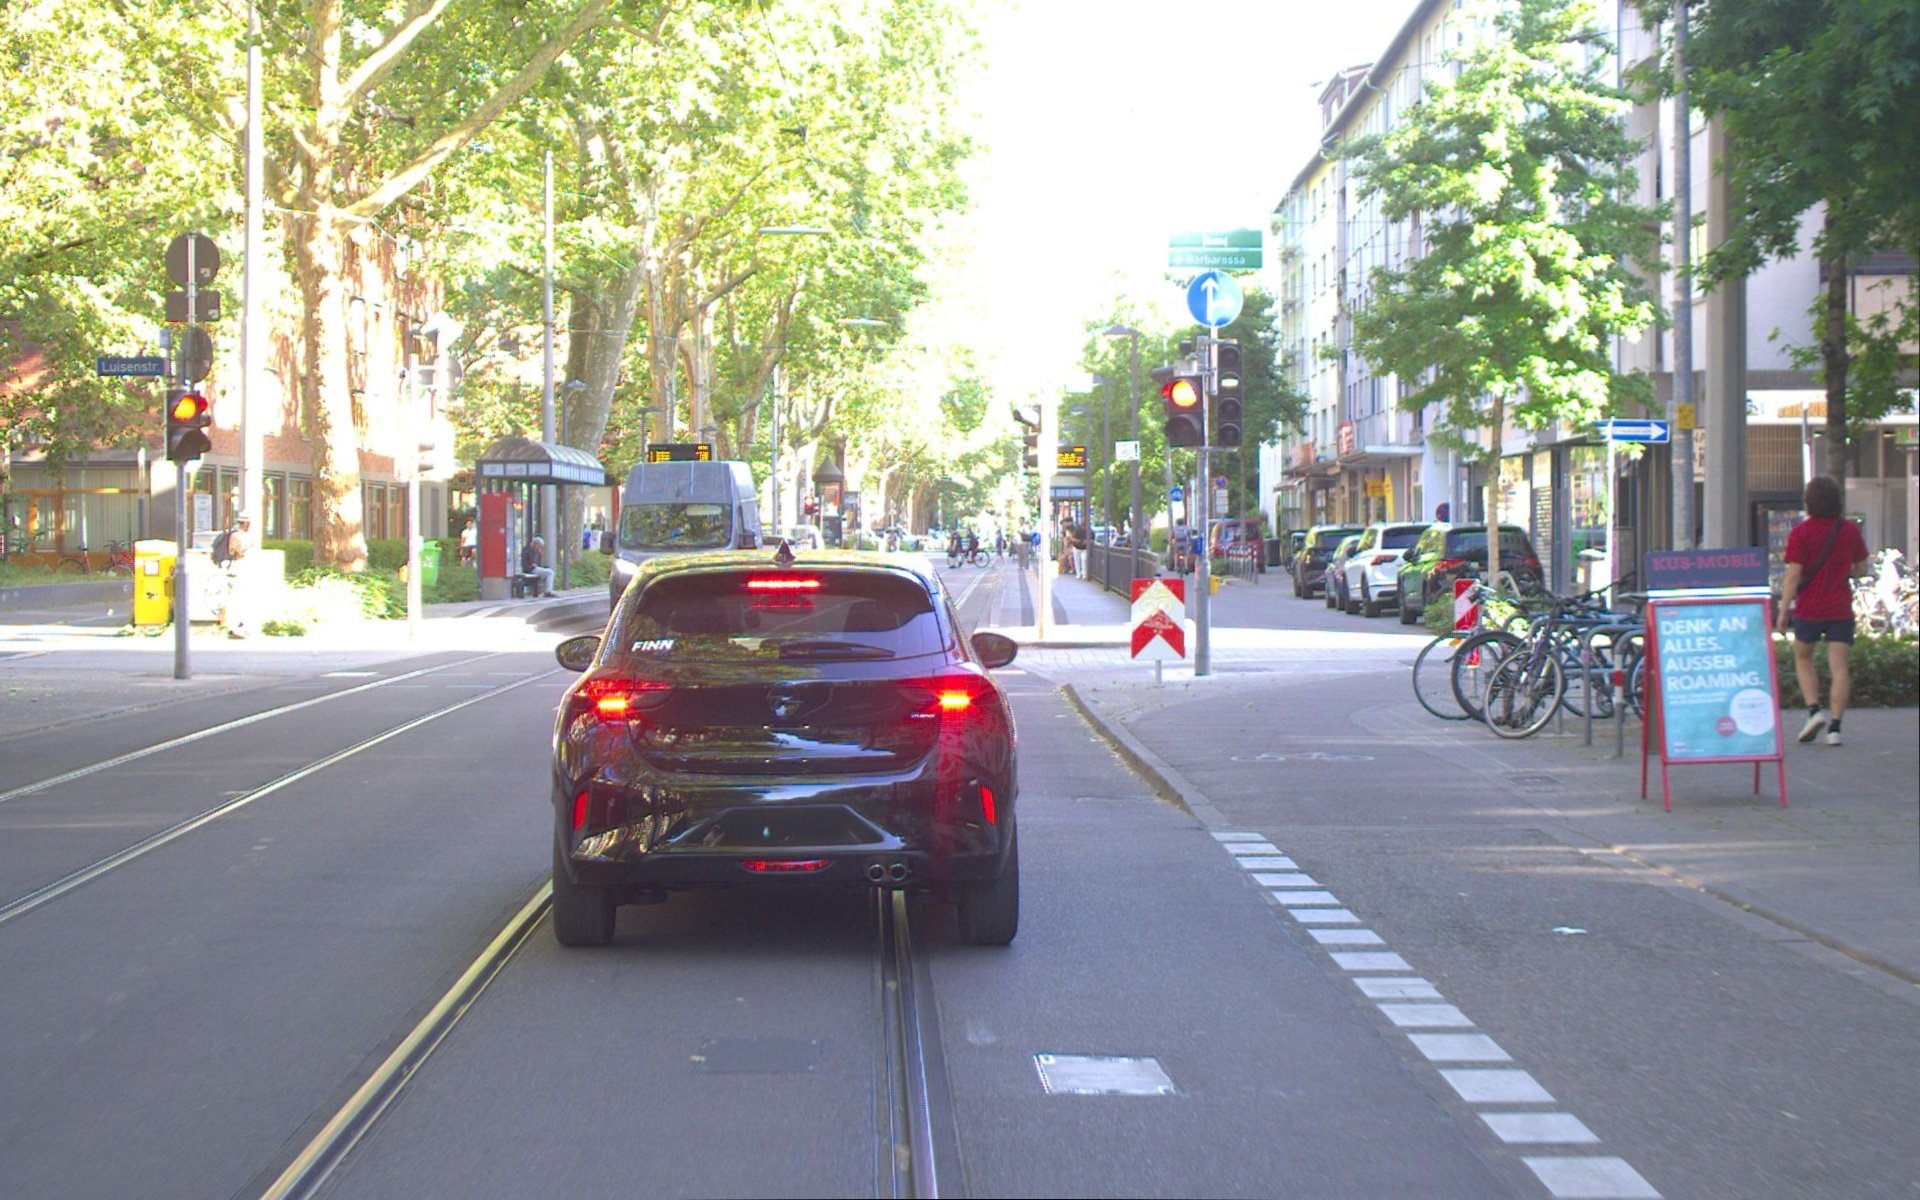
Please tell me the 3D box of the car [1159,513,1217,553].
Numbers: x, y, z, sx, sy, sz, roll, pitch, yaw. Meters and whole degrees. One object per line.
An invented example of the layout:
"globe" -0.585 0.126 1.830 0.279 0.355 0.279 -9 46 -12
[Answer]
"car" 8.669 -2.535 130.843 1.993 1.481 4.000 1 1 1

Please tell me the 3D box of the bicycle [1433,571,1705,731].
"bicycle" 4.265 0.354 24.130 1.815 1.096 0.525 0 1 0

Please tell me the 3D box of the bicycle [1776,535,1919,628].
"bicycle" 11.934 -0.247 46.000 1.914 1.203 0.511 -1 1 -3

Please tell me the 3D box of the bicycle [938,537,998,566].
"bicycle" 0.353 -2.089 147.632 2.480 1.236 0.958 1 1 -4

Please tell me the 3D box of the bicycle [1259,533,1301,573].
"bicycle" 9.331 -1.373 100.317 0.602 1.132 2.435 1 1 -10

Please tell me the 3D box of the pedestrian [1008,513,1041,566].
"pedestrian" 2.074 -1.937 110.642 0.751 1.703 0.762 1 1 36

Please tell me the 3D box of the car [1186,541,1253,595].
"car" 8.917 -1.112 118.376 1.993 1.791 4.000 1 1 0

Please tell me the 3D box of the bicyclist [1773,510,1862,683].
"bicyclist" 8.630 -0.038 34.614 0.677 1.711 0.965 1 1 3

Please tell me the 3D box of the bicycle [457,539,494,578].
"bicycle" -13.951 -1.192 99.008 0.782 1.107 2.596 1 1 -2

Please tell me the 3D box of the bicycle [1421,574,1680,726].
"bicycle" 4.378 0.366 25.529 1.815 1.096 0.498 1 1 -7

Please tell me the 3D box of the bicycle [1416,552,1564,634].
"bicycle" 7.857 -0.107 50.984 2.127 1.183 0.681 1 1 9

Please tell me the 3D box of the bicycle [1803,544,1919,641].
"bicycle" 11.902 -0.105 44.358 1.914 1.203 0.511 -1 2 -3

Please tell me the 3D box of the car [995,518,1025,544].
"car" 3.077 -4.285 213.785 1.745 1.539 4.000 1 1 -1

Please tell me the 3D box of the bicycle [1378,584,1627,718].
"bicycle" 4.164 0.388 26.443 1.815 0.991 0.481 1 1 -1

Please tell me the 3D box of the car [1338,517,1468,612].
"car" 7.869 -0.642 61.420 1.799 1.600 4.415 1 1 1

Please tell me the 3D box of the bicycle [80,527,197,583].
"bicycle" -17.813 -0.970 74.559 2.340 1.162 0.682 1 1 2

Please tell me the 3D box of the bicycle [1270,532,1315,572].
"bicycle" 9.428 -1.362 97.577 0.621 1.132 2.440 1 1 -10

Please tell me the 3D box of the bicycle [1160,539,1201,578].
"bicycle" 6.523 -1.238 101.825 0.861 1.132 2.396 1 1 -5

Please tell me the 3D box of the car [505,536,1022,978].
"car" -0.710 0.511 13.655 1.759 1.503 3.683 -1 1 -1

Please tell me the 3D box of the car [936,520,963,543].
"car" -0.711 -4.545 228.449 1.745 1.539 4.000 1 1 -1

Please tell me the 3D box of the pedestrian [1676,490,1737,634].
"pedestrian" 8.171 -0.417 37.641 0.551 1.556 0.645 1 0 5

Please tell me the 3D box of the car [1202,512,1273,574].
"car" 9.016 -1.853 111.929 1.993 1.946 4.000 1 1 0

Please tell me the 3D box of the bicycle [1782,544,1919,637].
"bicycle" 11.882 -0.128 45.448 1.914 1.203 0.511 -1 2 -3

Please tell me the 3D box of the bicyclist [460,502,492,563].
"bicyclist" -13.927 -1.929 98.880 0.774 1.744 0.998 1 1 -1

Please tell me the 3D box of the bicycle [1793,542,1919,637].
"bicycle" 11.898 -0.139 44.913 1.914 1.203 0.511 -1 2 -3

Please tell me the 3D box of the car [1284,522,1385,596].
"car" 8.408 -0.926 77.524 1.857 1.610 4.398 1 1 1

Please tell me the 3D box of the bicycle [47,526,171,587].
"bicycle" -18.249 -0.930 73.726 2.458 1.215 0.682 2 1 2

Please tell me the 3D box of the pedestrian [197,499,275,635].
"pedestrian" -10.079 -0.465 47.891 0.924 1.829 0.920 1 3 -3

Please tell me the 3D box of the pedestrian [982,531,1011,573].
"pedestrian" 1.537 -2.014 145.209 1.163 1.742 0.958 1 1 -4

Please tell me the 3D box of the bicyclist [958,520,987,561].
"bicyclist" 0.539 -2.538 147.638 1.163 1.742 0.958 1 1 -4

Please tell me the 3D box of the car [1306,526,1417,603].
"car" 7.864 -0.710 67.682 1.744 1.435 4.247 1 1 1

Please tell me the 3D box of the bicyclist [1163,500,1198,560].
"bicyclist" 6.535 -2.066 101.814 0.861 1.753 1.054 1 1 -5

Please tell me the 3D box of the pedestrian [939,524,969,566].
"pedestrian" -0.253 -2.318 145.013 1.163 1.742 0.958 1 1 -4

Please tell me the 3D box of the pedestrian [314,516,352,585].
"pedestrian" -15.387 -1.209 84.417 0.735 1.666 0.861 1 1 1

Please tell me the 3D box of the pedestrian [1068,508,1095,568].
"pedestrian" 3.242 -1.648 91.633 0.631 1.571 0.871 2 1 1

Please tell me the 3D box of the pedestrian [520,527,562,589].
"pedestrian" -8.020 -0.802 65.813 0.705 1.164 0.659 -1 1 -2

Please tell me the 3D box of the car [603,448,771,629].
"car" -4.350 -0.987 55.789 2.113 2.728 6.115 -1 1 1

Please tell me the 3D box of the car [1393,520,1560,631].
"car" 8.109 -0.399 54.318 1.993 1.610 4.445 -2 1 1

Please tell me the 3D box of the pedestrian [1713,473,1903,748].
"pedestrian" 5.576 0.059 22.584 0.877 1.752 1.046 1 1 34

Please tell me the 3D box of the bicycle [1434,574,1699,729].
"bicycle" 4.402 0.371 24.974 1.815 1.096 0.481 1 1 -7
